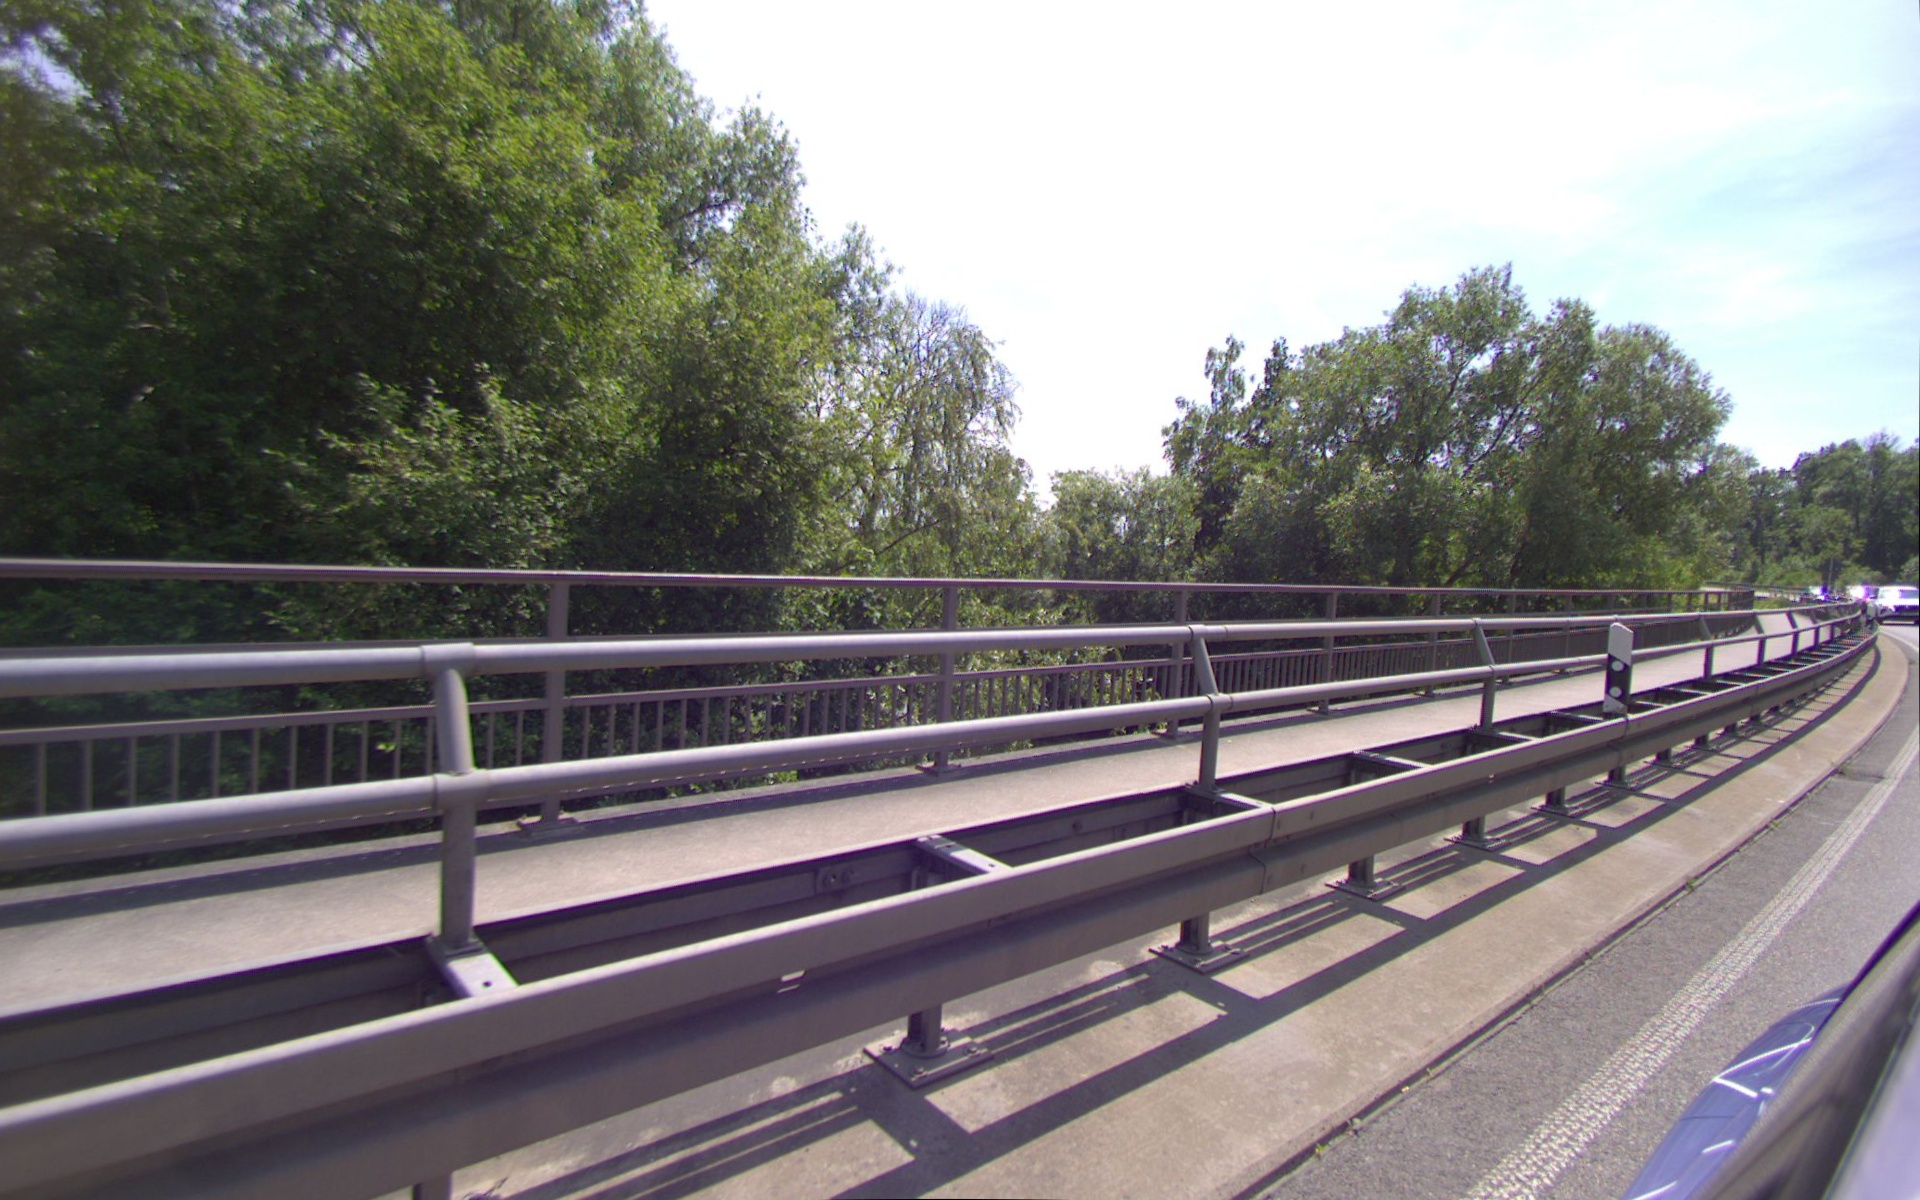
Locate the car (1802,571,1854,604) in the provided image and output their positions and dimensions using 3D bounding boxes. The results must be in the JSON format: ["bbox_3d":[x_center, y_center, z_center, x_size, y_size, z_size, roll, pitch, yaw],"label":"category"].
[{"bbox_3d":[55.659,-0.819,64.941,1.985,2.039,3.954,0,1,33],"label":"car"}]

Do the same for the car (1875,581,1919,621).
[{"bbox_3d":[41.063,0.009,43.642,1.898,1.668,3.900,0,1,35],"label":"car"}]

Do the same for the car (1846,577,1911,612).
[{"bbox_3d":[47.850,-0.307,52.805,1.987,1.798,3.951,0,1,35],"label":"car"}]
